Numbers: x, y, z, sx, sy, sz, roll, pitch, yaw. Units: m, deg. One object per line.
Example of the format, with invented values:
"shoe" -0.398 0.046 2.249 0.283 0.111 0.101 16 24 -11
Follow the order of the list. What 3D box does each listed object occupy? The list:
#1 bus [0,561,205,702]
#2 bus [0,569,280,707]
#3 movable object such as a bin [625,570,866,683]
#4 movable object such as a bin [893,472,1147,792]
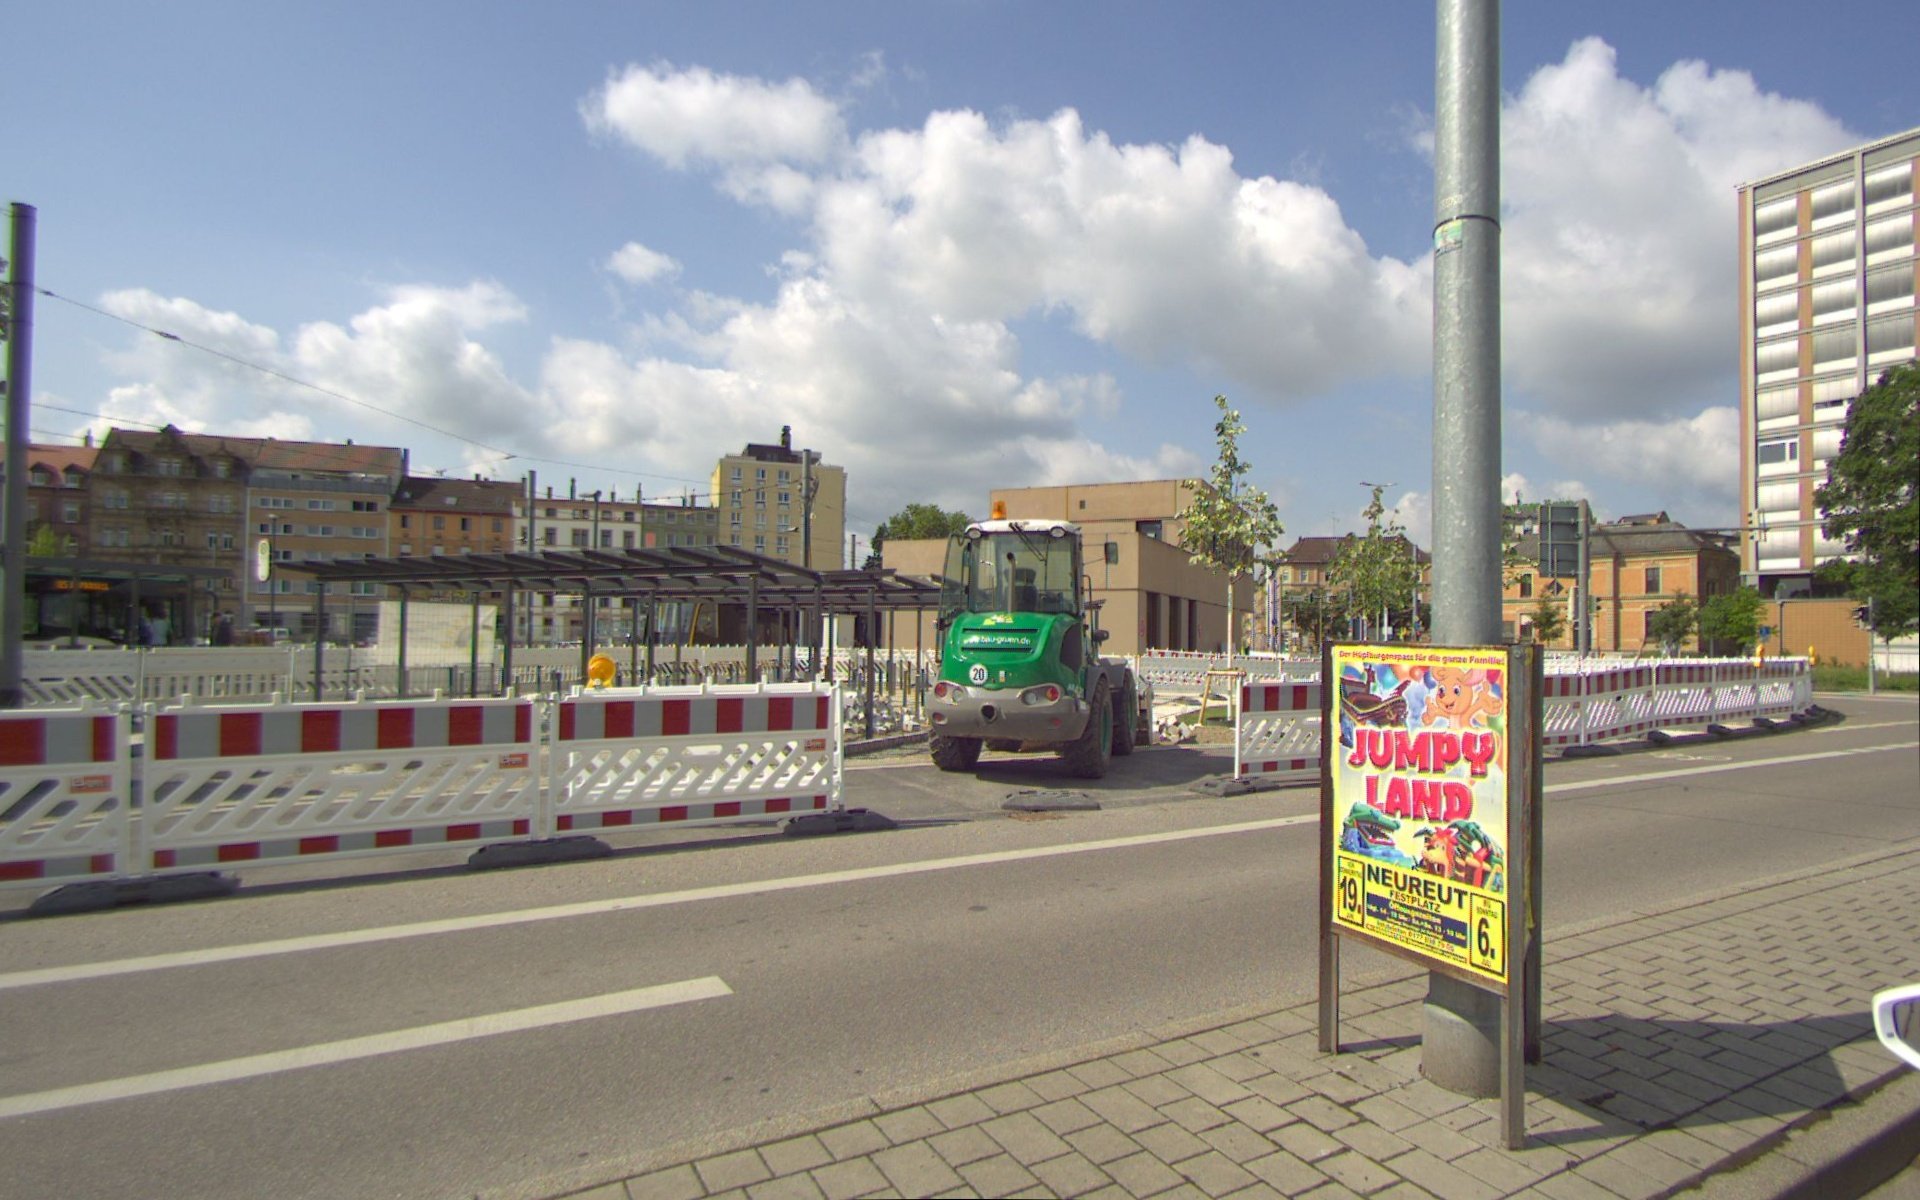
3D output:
"bus" -22.099 0.710 22.742 2.329 3.098 7.758 -1 -2 25
"bus" -24.134 0.938 25.007 2.937 3.305 12.067 -1 -2 25
"movable object such as a bin" -7.226 1.011 35.902 2.966 3.468 9.677 0 -2 27
"movable object such as a bin" 0.942 0.389 11.814 1.960 2.988 4.453 0 -2 17
